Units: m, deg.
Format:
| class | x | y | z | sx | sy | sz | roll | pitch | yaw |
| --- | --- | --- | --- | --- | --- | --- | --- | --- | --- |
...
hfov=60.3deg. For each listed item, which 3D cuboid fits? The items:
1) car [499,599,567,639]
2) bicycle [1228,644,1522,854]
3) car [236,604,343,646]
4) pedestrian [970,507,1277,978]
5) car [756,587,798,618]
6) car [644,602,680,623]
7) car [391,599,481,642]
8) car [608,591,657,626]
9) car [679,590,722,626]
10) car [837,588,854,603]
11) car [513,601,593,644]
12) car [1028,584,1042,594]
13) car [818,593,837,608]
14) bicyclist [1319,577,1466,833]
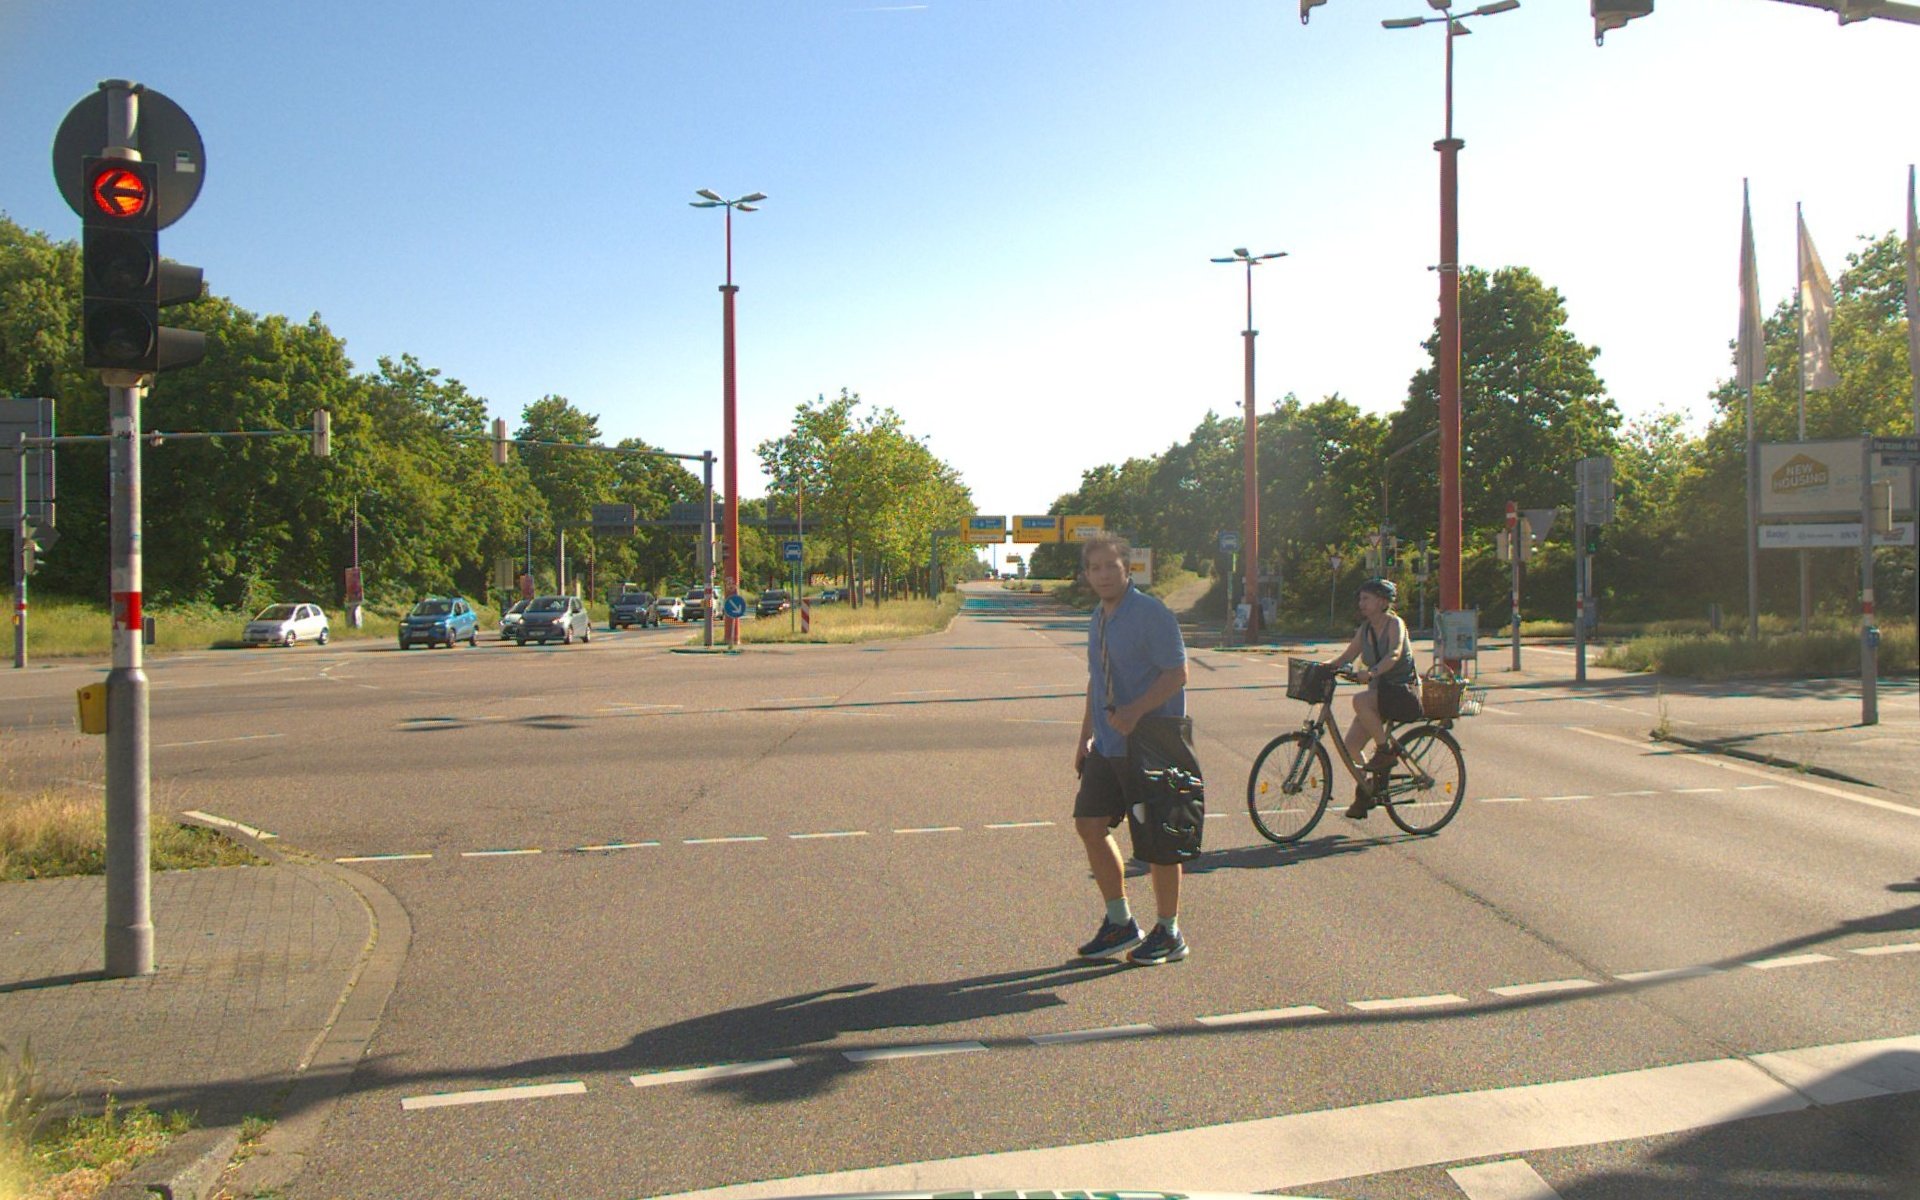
| class | x | y | z | sx | sy | sz | roll | pitch | yaw |
| --- | --- | --- | --- | --- | --- | --- | --- | --- | --- |
| car | -15.906 | 0.686 | 61.749 | 1.704 | 1.436 | 3.611 | 0 | 0 | -2 |
| bicycle | 2.729 | 0.924 | 10.815 | 1.920 | 1.216 | 0.686 | 0 | 0 | -29 |
| car | -24.008 | 0.889 | 59.356 | 1.713 | 1.422 | 4.003 | 0 | 0 | 10 |
| pedestrian | 0.674 | 0.551 | 7.043 | 0.971 | 1.825 | 0.948 | 0 | 0 | -23 |
| car | -9.453 | 0.136 | 85.497 | 1.782 | 1.534 | 3.999 | 0 | 0 | -1 |
| car | -18.706 | 0.765 | 103.798 | 1.704 | 1.265 | 3.611 | 0 | 0 | -2 |
| car | -16.069 | 0.612 | 50.855 | 1.704 | 1.265 | 3.611 | 0 | 0 | -2 |
| car | -15.685 | 0.396 | 79.298 | 1.704 | 1.640 | 3.611 | 0 | 0 | -2 |
| car | -15.329 | 0.438 | 97.865 | 1.855 | 2.061 | 5.221 | 0 | 0 | -2 |
| car | -13.567 | -0.539 | 196.462 | 1.782 | 1.657 | 3.999 | 0 | 0 | -1 |
| car | -12.676 | 0.671 | 51.689 | 1.704 | 1.265 | 3.611 | 0 | 0 | -2 |
| car | 11.510 | -1.638 | 253.835 | 1.758 | 1.434 | 3.999 | 1 | 0 | -1 |
| car | -14.574 | 0.042 | 181.582 | 1.761 | 1.668 | 3.999 | -1 | 0 | -1 |
| bicyclist | 2.837 | 0.657 | 10.873 | 0.653 | 1.612 | 0.666 | 0 | 0 | -28 |
